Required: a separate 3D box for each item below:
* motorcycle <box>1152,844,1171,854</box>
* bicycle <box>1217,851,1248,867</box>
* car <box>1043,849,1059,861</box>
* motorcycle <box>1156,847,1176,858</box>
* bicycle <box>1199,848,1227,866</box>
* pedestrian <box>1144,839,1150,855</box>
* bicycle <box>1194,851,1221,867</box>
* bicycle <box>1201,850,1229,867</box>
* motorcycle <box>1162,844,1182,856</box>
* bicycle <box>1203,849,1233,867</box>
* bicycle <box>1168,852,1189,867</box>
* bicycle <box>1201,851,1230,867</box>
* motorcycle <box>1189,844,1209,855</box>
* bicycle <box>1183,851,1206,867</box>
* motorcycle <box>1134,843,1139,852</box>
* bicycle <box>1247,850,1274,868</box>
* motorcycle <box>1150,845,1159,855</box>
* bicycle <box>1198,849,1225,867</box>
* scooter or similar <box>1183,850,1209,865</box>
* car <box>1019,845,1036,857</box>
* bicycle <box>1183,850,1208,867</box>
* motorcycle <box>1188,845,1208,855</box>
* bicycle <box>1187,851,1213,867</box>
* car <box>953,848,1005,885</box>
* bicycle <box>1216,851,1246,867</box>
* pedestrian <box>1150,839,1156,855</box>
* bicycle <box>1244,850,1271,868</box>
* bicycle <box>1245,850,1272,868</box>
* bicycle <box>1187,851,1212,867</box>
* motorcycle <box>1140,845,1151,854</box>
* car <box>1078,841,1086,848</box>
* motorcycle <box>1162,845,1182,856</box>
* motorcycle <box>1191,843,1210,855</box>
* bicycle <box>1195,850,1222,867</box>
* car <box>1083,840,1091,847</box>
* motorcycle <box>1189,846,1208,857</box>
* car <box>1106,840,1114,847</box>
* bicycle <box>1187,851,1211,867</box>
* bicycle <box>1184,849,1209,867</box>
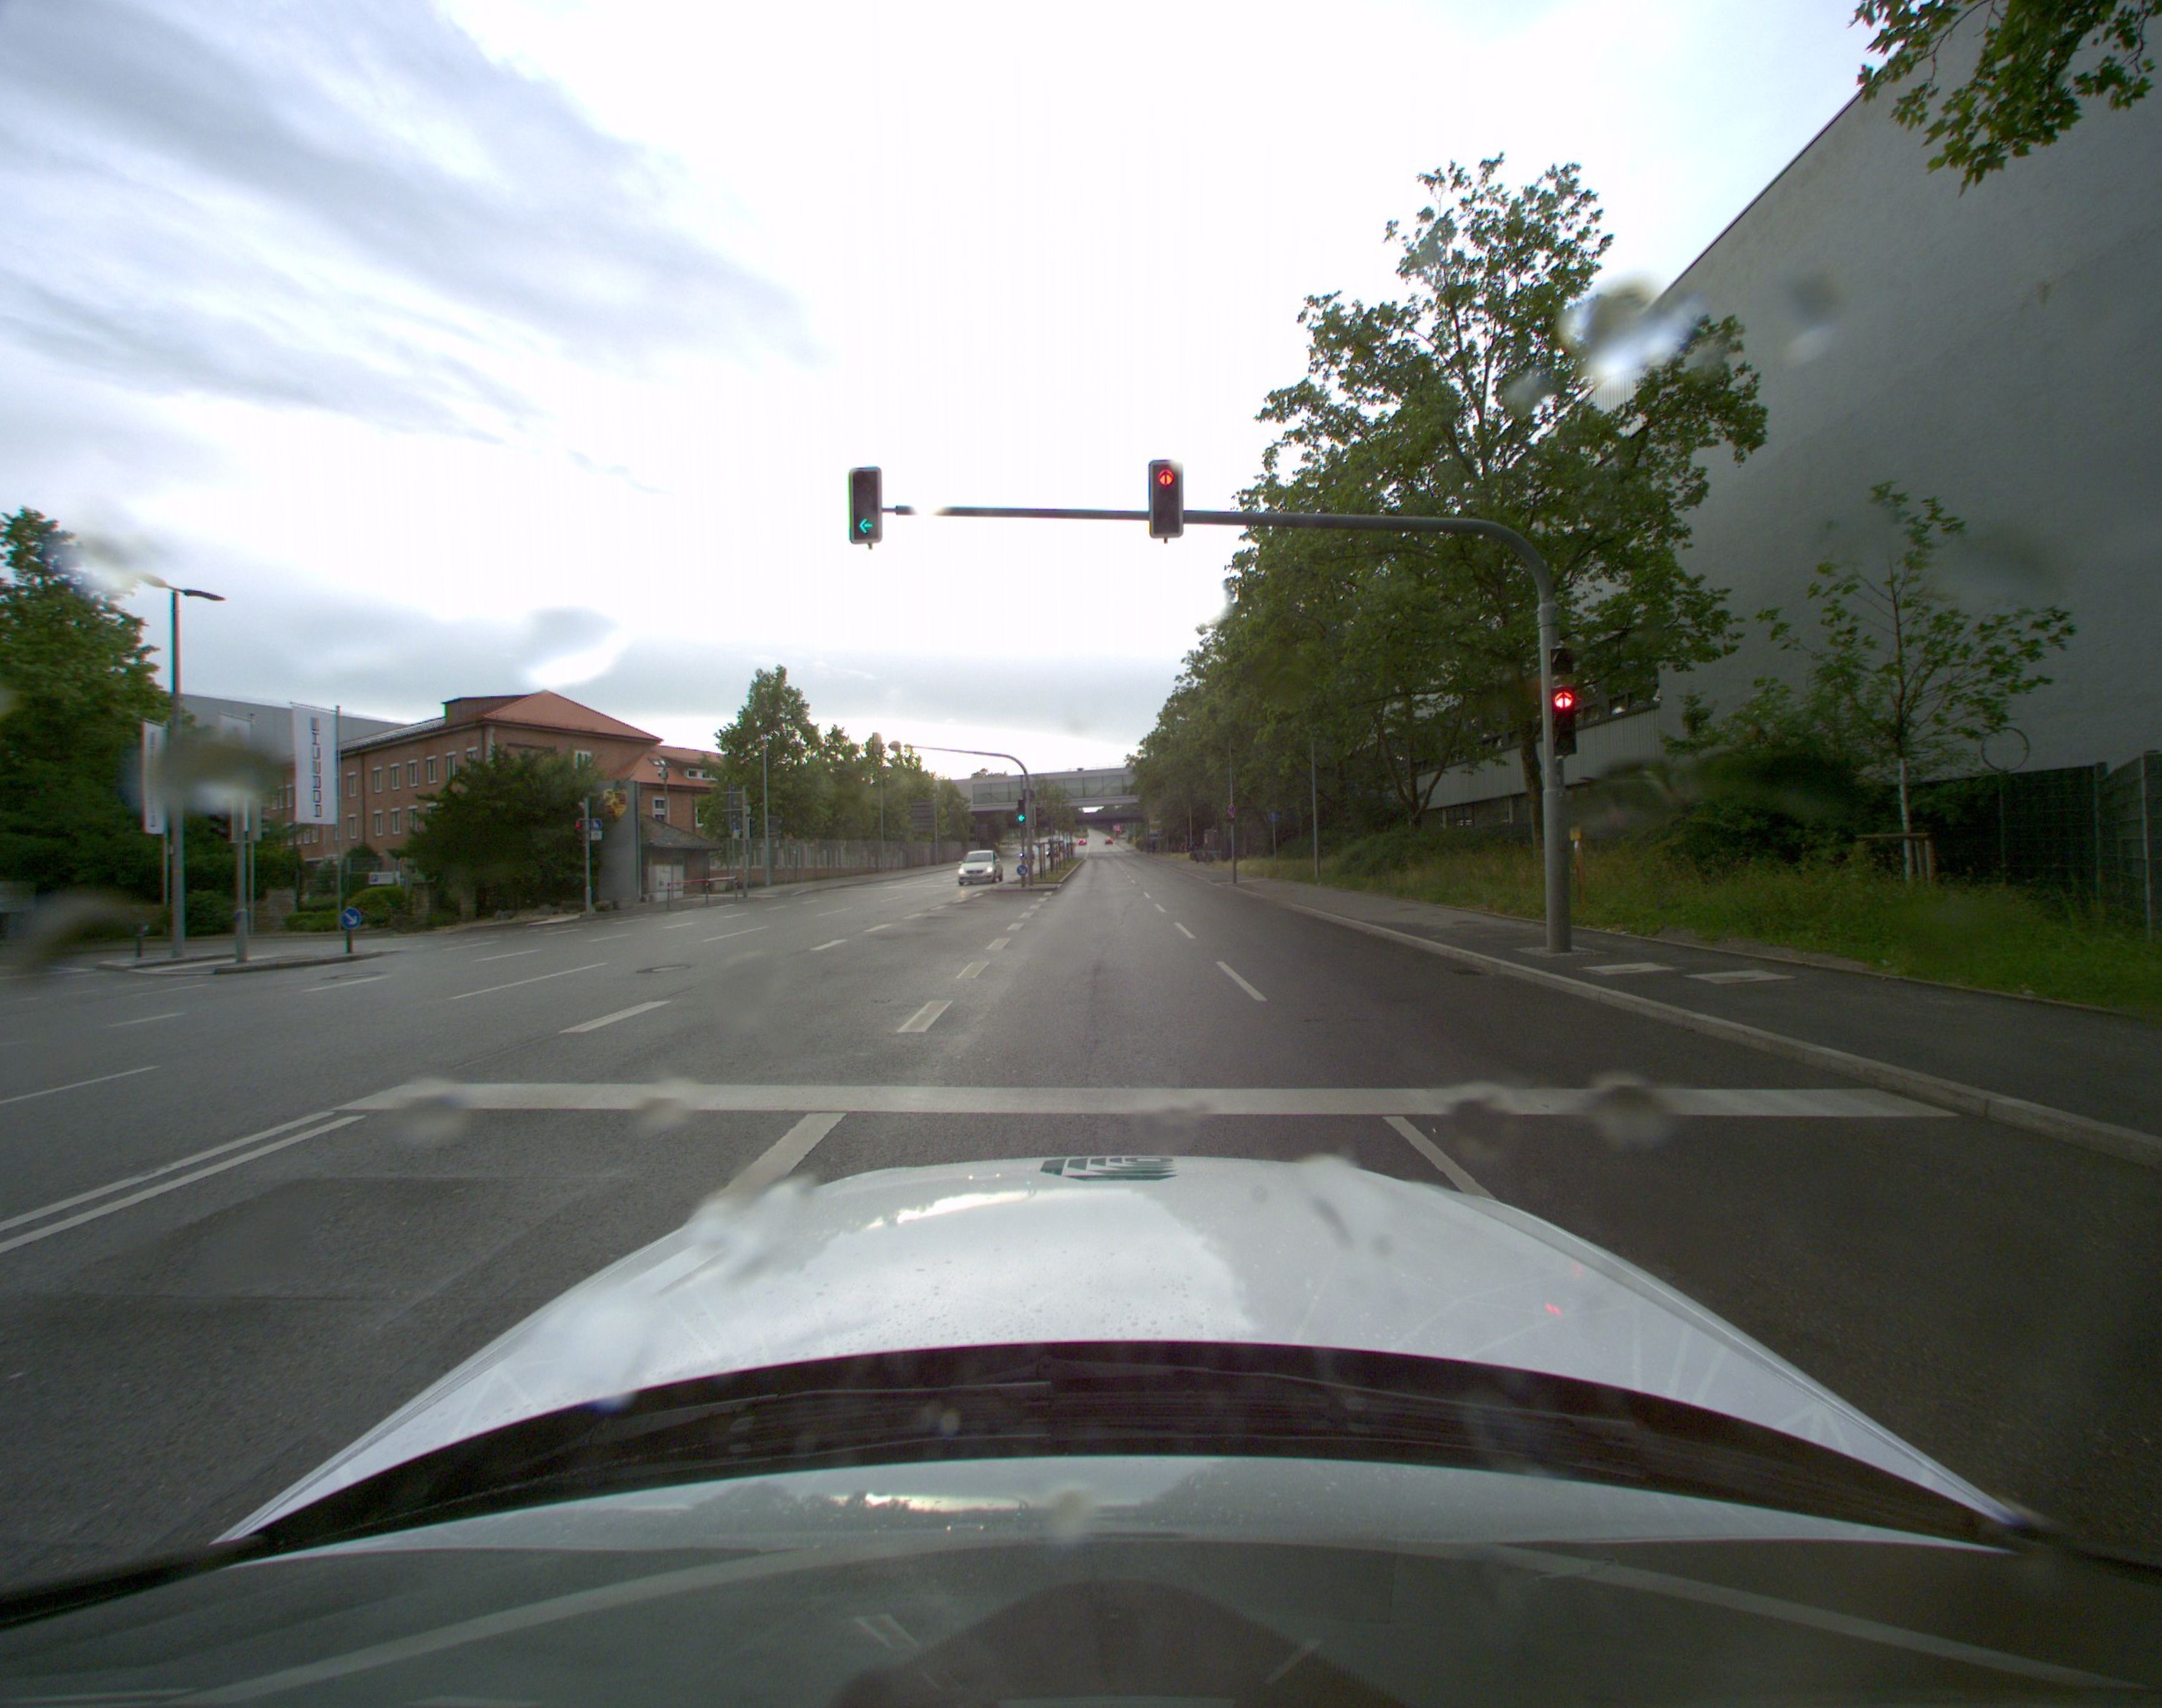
[{"bbox_3d":[10.596,-0.591,106.800,2.354,1.202,0.724,-3,0,9],"label":"motorcycle"},{"bbox_3d":[10.158,0.338,54.758,1.982,1.094,0.541,1,-1,2],"label":"bicycle"},{"bbox_3d":[-4.101,0.096,112.851,1.870,1.624,3.780,-2,0,2],"label":"car"},{"bbox_3d":[10.725,-0.195,102.471,2.354,1.202,0.724,-3,0,9],"label":"motorcycle"},{"bbox_3d":[9.735,0.229,59.908,1.982,1.242,0.541,1,-1,2],"label":"bicycle"},{"bbox_3d":[8.465,-0.910,104.049,0.619,2.013,0.606,-3,0,2],"label":"pedestrian"},{"bbox_3d":[9.722,0.368,62.710,1.982,1.242,0.541,1,-1,2],"label":"bicycle"},{"bbox_3d":[9.684,0.321,58.990,1.982,1.233,0.541,1,-1,2],"label":"bicycle"},{"bbox_3d":[10.711,-0.467,95.885,2.354,1.202,0.724,-3,0,9],"label":"motorcycle"},{"bbox_3d":[9.546,0.299,56.803,1.982,1.216,0.541,1,-1,2],"label":"bicycle"},{"bbox_3d":[9.007,0.489,75.320,1.955,1.328,0.654,1,-1,2],"label":"bicycle"},{"bbox_3d":[9.648,0.379,58.408,1.982,1.094,0.541,1,-1,2],"label":"bicycle"},{"bbox_3d":[14.433,-0.553,99.824,2.354,1.202,0.724,-3,0,9],"label":"motorcycle"},{"bbox_3d":[9.911,0.444,71.280,1.953,1.328,0.576,1,-1,2],"label":"bicycle"},{"bbox_3d":[9.948,-1.087,145.640,0.787,1.533,2.376,-3,0,0],"label":"motorcycle"},{"bbox_3d":[13.803,0.381,62.758,1.982,1.328,0.576,1,-1,2],"label":"bicycle"},{"bbox_3d":[10.984,-0.602,121.380,0.789,1.311,2.371,-3,0,-7],"label":"motorcycle"},{"bbox_3d":[9.767,0.280,61.068,1.982,1.340,0.541,1,-1,2],"label":"bicycle"},{"bbox_3d":[9.146,0.304,64.887,1.982,1.138,0.541,1,-1,2],"label":"scooter or similar"},{"bbox_3d":[-7.169,-0.414,109.432,1.870,1.624,3.780,-2,0,2],"label":"car"},{"bbox_3d":[9.379,0.389,66.810,1.982,1.328,0.576,1,-1,2],"label":"bicycle"},{"bbox_3d":[14.514,-0.518,101.044,2.354,1.202,0.724,-3,0,9],"label":"motorcycle"},{"bbox_3d":[9.371,0.383,64.094,1.982,1.242,0.541,1,-1,2],"label":"bicycle"},{"bbox_3d":[-4.932,0.580,39.843,1.870,1.624,3.780,-2,0,2],"label":"car"},{"bbox_3d":[10.177,0.346,55.327,1.982,1.094,0.541,1,-1,2],"label":"bicycle"},{"bbox_3d":[9.125,-0.929,103.569,0.619,2.013,0.606,-3,0,2],"label":"pedestrian"},{"bbox_3d":[13.863,0.400,64.100,1.982,1.328,0.576,1,-1,2],"label":"bicycle"},{"bbox_3d":[13.826,0.390,63.423,1.982,1.328,0.576,1,-1,2],"label":"bicycle"},{"bbox_3d":[9.846,0.407,67.742,1.982,1.328,0.576,1,-1,2],"label":"bicycle"},{"bbox_3d":[10.007,-0.631,126.538,0.792,1.311,2.363,-2,0,-16],"label":"motorcycle"},{"bbox_3d":[0.335,-2.401,208.022,1.986,1.762,4.002,1,-1,2],"label":"car"},{"bbox_3d":[10.922,-0.426,97.982,2.354,1.202,0.724,-3,0,9],"label":"motorcycle"},{"bbox_3d":[15.831,-0.699,107.853,2.354,1.476,0.724,-3,0,9],"label":"motorcycle"},{"bbox_3d":[9.695,0.355,61.761,1.982,1.242,0.541,1,-1,2],"label":"bicycle"},{"bbox_3d":[1.635,-2.697,214.607,1.877,1.762,3.970,1,-1,2],"label":"car"},{"bbox_3d":[14.755,-0.310,102.191,2.354,1.202,0.724,-3,0,9],"label":"motorcycle"},{"bbox_3d":[7.251,-2.619,203.978,1.868,1.497,4.070,1,-1,2],"label":"car"},{"bbox_3d":[10.033,0.418,69.327,1.982,1.328,0.576,1,-1,2],"label":"bicycle"},{"bbox_3d":[9.705,0.352,68.481,1.982,1.430,0.723,1,-1,2],"label":"bicycle"}]
